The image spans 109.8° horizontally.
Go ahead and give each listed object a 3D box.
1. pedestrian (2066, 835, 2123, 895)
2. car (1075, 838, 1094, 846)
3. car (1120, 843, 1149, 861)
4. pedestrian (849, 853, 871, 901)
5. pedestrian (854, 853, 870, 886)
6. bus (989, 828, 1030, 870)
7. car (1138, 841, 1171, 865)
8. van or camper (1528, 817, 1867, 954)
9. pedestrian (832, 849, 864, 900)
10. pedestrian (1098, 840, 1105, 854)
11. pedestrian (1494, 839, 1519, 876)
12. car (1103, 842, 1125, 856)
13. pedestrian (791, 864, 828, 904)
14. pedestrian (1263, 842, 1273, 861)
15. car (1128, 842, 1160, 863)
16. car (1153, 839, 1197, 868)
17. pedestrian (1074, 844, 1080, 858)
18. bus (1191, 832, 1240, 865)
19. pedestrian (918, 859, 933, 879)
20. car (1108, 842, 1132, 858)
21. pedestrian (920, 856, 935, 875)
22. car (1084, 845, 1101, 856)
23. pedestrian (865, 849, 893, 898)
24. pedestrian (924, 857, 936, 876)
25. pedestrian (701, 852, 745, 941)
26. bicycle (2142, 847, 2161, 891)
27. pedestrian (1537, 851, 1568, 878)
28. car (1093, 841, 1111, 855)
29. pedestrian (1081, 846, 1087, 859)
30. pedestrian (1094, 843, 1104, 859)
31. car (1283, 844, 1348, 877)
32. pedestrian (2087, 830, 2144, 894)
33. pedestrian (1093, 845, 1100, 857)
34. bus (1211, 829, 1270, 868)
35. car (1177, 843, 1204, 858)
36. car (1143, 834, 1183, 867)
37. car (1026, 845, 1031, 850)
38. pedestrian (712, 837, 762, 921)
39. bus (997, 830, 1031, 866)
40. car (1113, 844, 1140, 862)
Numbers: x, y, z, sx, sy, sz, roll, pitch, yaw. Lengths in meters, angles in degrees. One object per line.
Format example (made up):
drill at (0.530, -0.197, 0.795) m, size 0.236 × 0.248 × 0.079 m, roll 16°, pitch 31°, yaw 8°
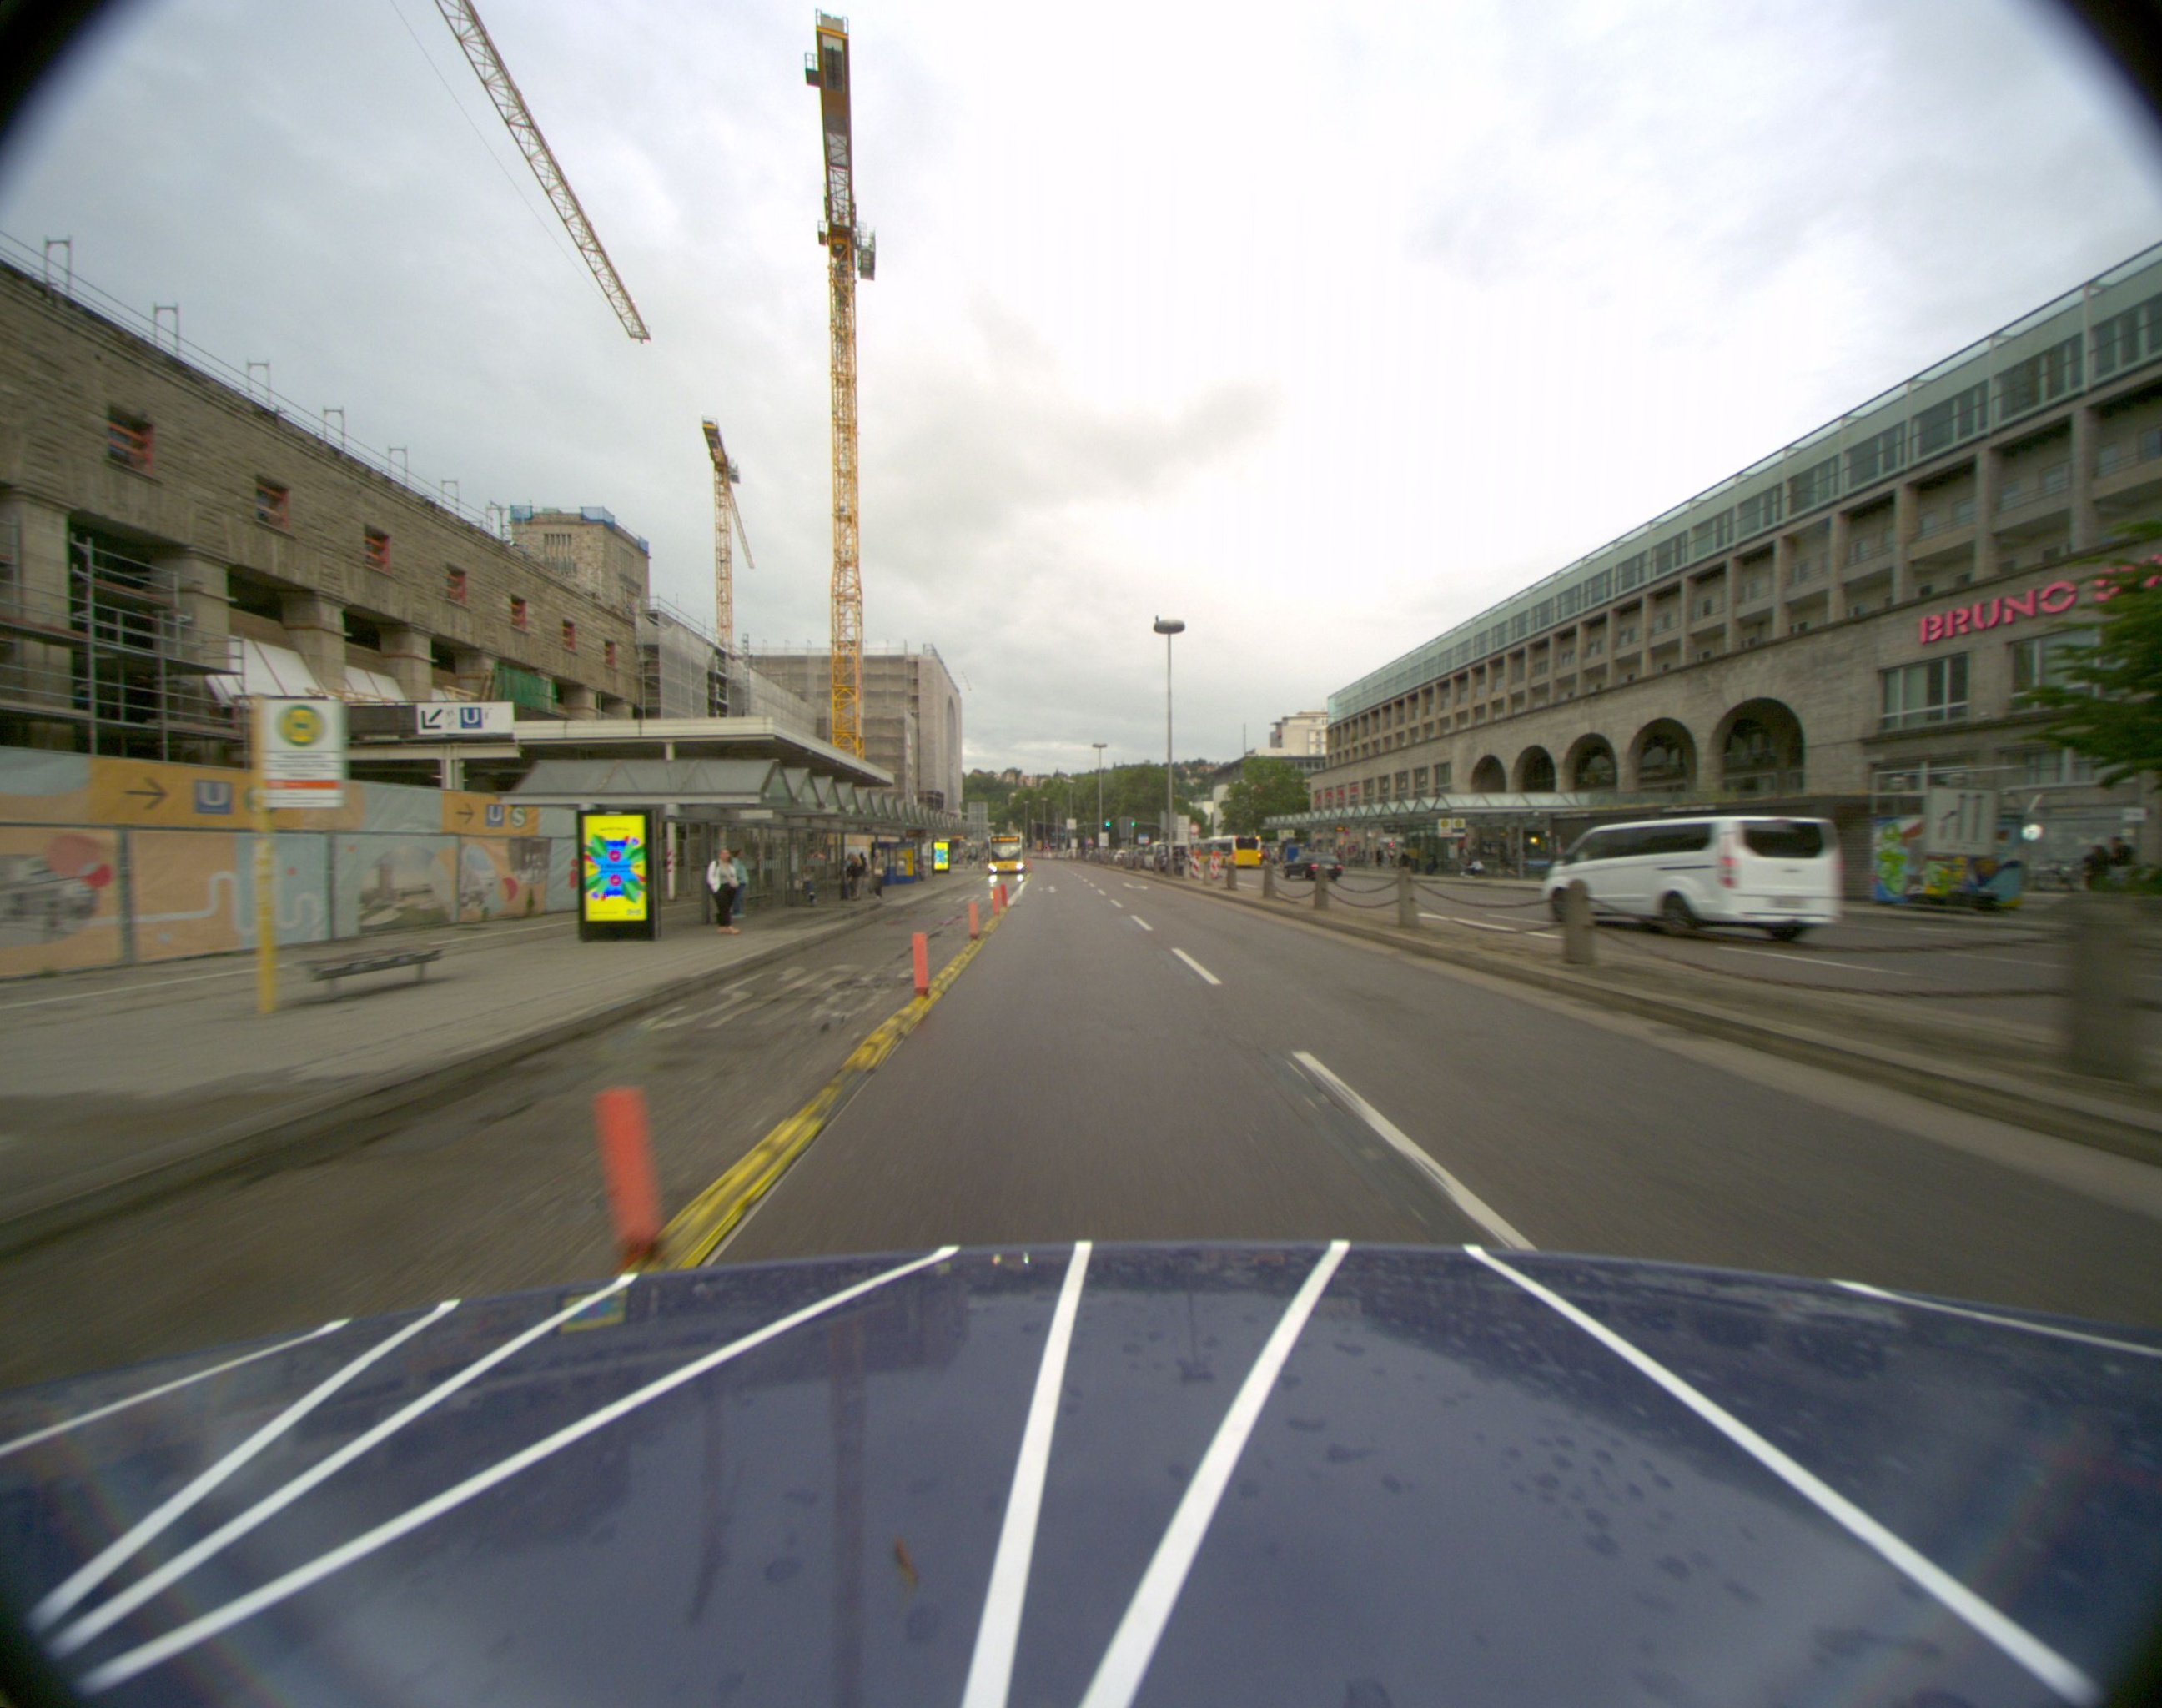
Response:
pedestrian at (29.779, 0.311, 22.341) m, size 0.667 × 1.742 × 0.728 m, roll -1°, pitch 1°, yaw -3°
car at (0.935, -3.132, 200.291) m, size 4.831 × 2.002 × 2.035 m, roll -2°, pitch 0°, yaw -2°
car at (4.883, -0.227, 69.642) m, size 1.935 × 1.568 × 5.049 m, roll 0°, pitch 1°, yaw -4°
pedestrian at (-7.294, 0.753, 25.107) m, size 0.522 × 1.557 × 0.728 m, roll -1°, pitch 1°, yaw -3°
pedestrian at (-11.189, 0.782, 38.802) m, size 0.709 × 1.598 × 0.729 m, roll -2°, pitch 2°, yaw -13°
bus at (-5.620, -0.467, 61.291) m, size 2.763 × 3.048 × 8.988 m, roll -2°, pitch 1°, yaw -3°
car at (5.641, -0.100, 58.675) m, size 1.935 × 1.796 × 4.580 m, roll 0°, pitch 1°, yaw -3°
van or camper at (10.719, 0.424, 13.929) m, size 1.998 × 2.002 × 5.188 m, roll -1°, pitch 1°, yaw 0°
pedestrian at (-7.934, 0.687, 25.924) m, size 0.810 × 1.650 × 0.804 m, roll -2°, pitch 1°, yaw -3°
pedestrian at (2.410, -0.803, 89.269) m, size 0.725 × 1.597 × 0.995 m, roll -3°, pitch 1°, yaw -4°
pedestrian at (21.976, 0.184, 39.275) m, size 0.721 × 1.845 × 0.930 m, roll -2°, pitch 1°, yaw -3°
car at (3.790, -0.564, 88.294) m, size 1.935 × 1.568 × 5.258 m, roll 0°, pitch 1°, yaw -4°
pedestrian at (-8.986, 0.980, 25.175) m, size 0.915 × 1.223 × 0.840 m, roll -2°, pitch 1°, yaw -2°
pedestrian at (17.054, -0.200, 69.307) m, size 0.625 × 1.715 × 0.855 m, roll -2°, pitch 1°, yaw -3°
car at (5.277, -0.129, 64.149) m, size 1.935 × 1.689 × 4.882 m, roll 0°, pitch 1°, yaw -4°
car at (5.786, -0.049, 47.436) m, size 1.999 × 1.712 × 4.780 m, roll -1°, pitch 1°, yaw -2°
pedestrian at (-0.605, -0.433, 107.544) m, size 0.725 × 1.996 × 0.772 m, roll -2°, pitch 1°, yaw -4°
bus at (14.561, -0.634, 83.235) m, size 2.885 × 3.357 × 10.569 m, roll 0°, pitch 1°, yaw -3°
pedestrian at (-8.776, 0.838, 42.933) m, size 0.729 × 1.059 × 0.709 m, roll -1°, pitch 1°, yaw -3°
car at (4.136, -0.462, 82.041) m, size 1.935 × 1.568 × 5.009 m, roll 0°, pitch 1°, yaw -4°
pedestrian at (-8.814, 0.681, 43.698) m, size 0.729 × 1.059 × 0.808 m, roll -1°, pitch 1°, yaw -3°
car at (1.649, -0.535, 111.450) m, size 2.020 × 1.612 × 4.840 m, roll -1°, pitch 1°, yaw -4°
pedestrian at (-7.105, 0.686, 26.697) m, size 0.764 × 1.683 × 0.821 m, roll -1°, pitch 1°, yaw -3°
pedestrian at (-9.797, 0.817, 49.390) m, size 0.666 × 1.180 × 0.665 m, roll -1°, pitch 1°, yaw -3°
pedestrian at (-7.013, 0.804, 14.886) m, size 0.704 × 1.670 × 0.721 m, roll -1°, pitch 1°, yaw -29°
bicycle at (33.205, 0.436, 22.536) m, size 2.372 × 1.286 × 0.663 m, roll 0°, pitch 1°, yaw 3°
pedestrian at (21.721, 0.484, 35.053) m, size 0.581 × 1.175 × 1.260 m, roll -2°, pitch 1°, yaw -2°
car at (2.679, -0.778, 97.788) m, size 1.935 × 1.681 × 4.679 m, roll 0°, pitch 1°, yaw -4°
pedestrian at (0.391, -0.184, 106.553) m, size 0.700 × 1.745 × 0.711 m, roll -1°, pitch 1°, yaw -4°
pedestrian at (2.098, -0.333, 88.171) m, size 1.053 × 1.758 × 0.616 m, roll -1°, pitch 2°, yaw -4°
car at (12.501, 0.302, 40.924) m, size 1.998 × 1.607 × 4.977 m, roll -1°, pitch 1°, yaw 0°
pedestrian at (30.458, 0.229, 22.378) m, size 0.667 × 1.842 × 0.728 m, roll -1°, pitch 1°, yaw -3°
pedestrian at (2.320, -0.460, 113.962) m, size 0.785 × 1.765 × 0.605 m, roll 1°, pitch 1°, yaw -16°
bus at (15.075, -0.557, 72.698) m, size 2.885 × 3.440 × 10.569 m, roll -1°, pitch 1°, yaw -3°
car at (11.781, -0.387, 81.871) m, size 1.967 × 1.555 × 4.833 m, roll 1°, pitch 0°, yaw -3°
car at (5.705, -0.279, 53.499) m, size 1.999 × 2.166 × 5.542 m, roll -1°, pitch 1°, yaw -2°
car at (-16.559, -2.190, 240.250) m, size 1.683 × 1.533 × 3.172 m, roll 0°, pitch 0°, yaw -4°
pedestrian at (-8.624, 0.614, 19.057) m, size 0.806 × 2.039 × 0.924 m, roll -3°, pitch 2°, yaw -42°
bus at (-6.092, -0.615, 70.331) m, size 2.763 × 3.051 × 9.075 m, roll -2°, pitch 1°, yaw -3°
car at (4.467, -0.125, 75.911) m, size 1.982 × 1.650 × 5.189 m, roll 0°, pitch 1°, yaw -4°
